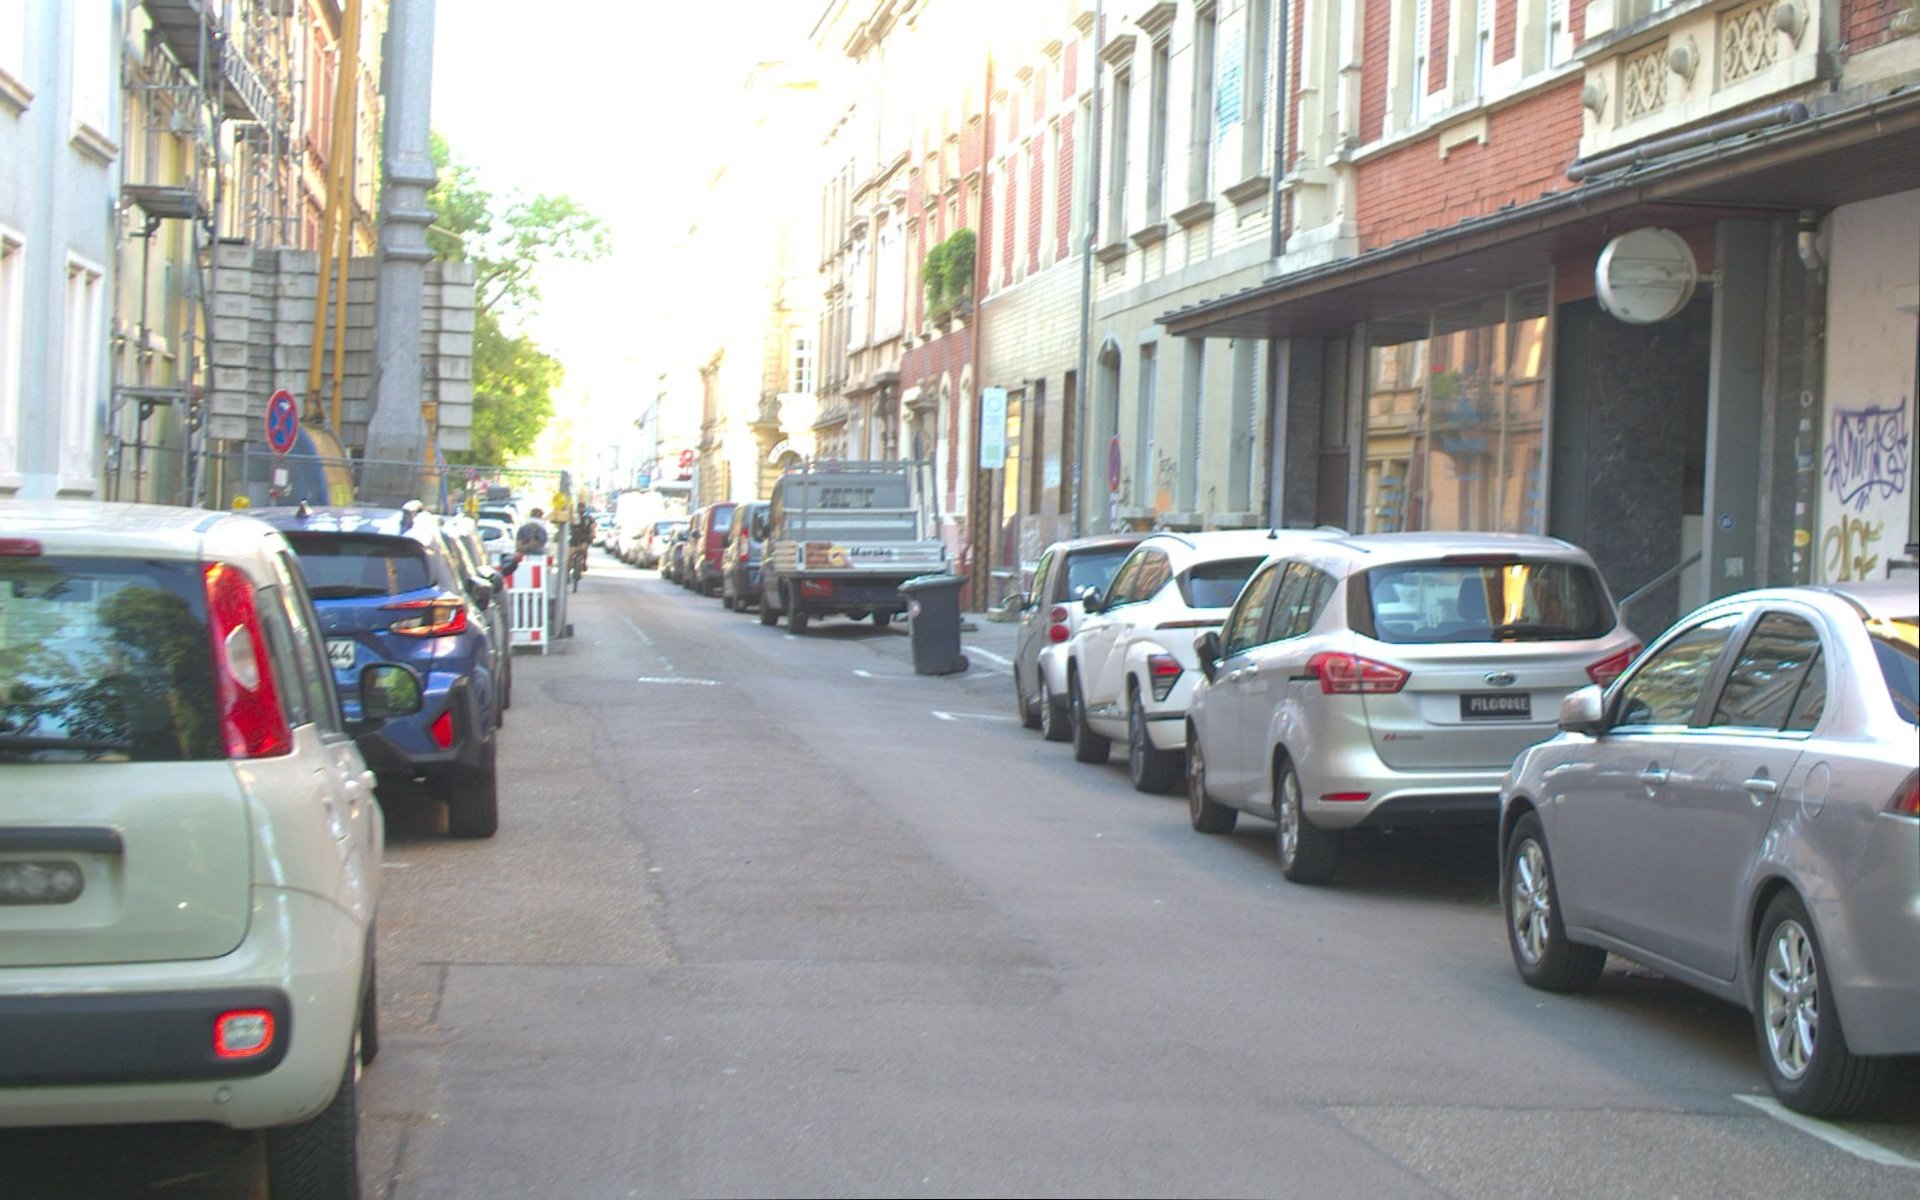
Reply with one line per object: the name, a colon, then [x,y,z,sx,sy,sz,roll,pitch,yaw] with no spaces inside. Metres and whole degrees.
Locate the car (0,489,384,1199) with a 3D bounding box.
car: [-2.274,0.509,8.397,1.674,1.534,3.870,1,1,-9]

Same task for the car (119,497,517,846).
car: [-3.190,0.267,17.400,1.729,1.534,4.379,0,1,-9]

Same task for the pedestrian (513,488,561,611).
pedestrian: [-5.971,-0.718,48.485,0.657,1.726,0.720,0,1,-7]

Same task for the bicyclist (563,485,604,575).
bicyclist: [-7.543,-1.411,68.811,0.730,1.755,0.835,2,2,-7]

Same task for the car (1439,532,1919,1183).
car: [2.949,0.622,10.800,1.721,1.556,4.400,2,2,-7]

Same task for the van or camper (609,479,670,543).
van or camper: [-12.919,-3.574,138.389,1.993,2.499,4.204,1,1,-11]

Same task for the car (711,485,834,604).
car: [-3.303,-0.987,59.950,1.674,1.956,4.110,1,1,-9]

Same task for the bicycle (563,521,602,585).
bicycle: [-7.555,-0.954,68.754,0.724,1.182,2.043,3,2,-7]

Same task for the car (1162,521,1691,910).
car: [2.149,0.466,16.902,1.639,1.650,3.870,2,1,-6]

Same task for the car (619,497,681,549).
car: [-11.228,-2.799,124.301,1.993,1.842,4.001,1,1,-8]

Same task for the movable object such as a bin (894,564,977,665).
movable object such as a bin: [-0.270,0.158,37.406,0.795,1.052,0.660,2,1,-7]

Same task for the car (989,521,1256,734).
car: [1.242,0.170,27.745,1.596,1.555,3.814,1,1,-5]

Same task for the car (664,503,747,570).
car: [-6.354,-1.589,85.529,1.674,1.565,3.870,1,1,-9]

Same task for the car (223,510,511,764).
car: [-3.883,0.177,23.074,1.674,1.506,4.416,1,1,-7]

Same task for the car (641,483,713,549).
car: [-9.085,-2.704,110.272,1.993,2.006,4.001,2,2,-8]

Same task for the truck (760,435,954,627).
truck: [-1.554,-1.012,49.578,2.189,2.598,5.236,1,1,-8]

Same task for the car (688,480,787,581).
car: [-4.707,-1.462,72.367,1.674,2.024,3.870,1,1,-9]

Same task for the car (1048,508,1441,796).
car: [1.743,0.264,22.525,1.746,1.670,4.341,1,1,-6]

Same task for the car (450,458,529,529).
car: [-10.944,-2.467,79.826,1.674,1.565,3.870,1,1,-9]

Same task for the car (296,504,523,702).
car: [-4.482,-0.029,28.487,1.674,1.472,4.609,1,1,-7]
